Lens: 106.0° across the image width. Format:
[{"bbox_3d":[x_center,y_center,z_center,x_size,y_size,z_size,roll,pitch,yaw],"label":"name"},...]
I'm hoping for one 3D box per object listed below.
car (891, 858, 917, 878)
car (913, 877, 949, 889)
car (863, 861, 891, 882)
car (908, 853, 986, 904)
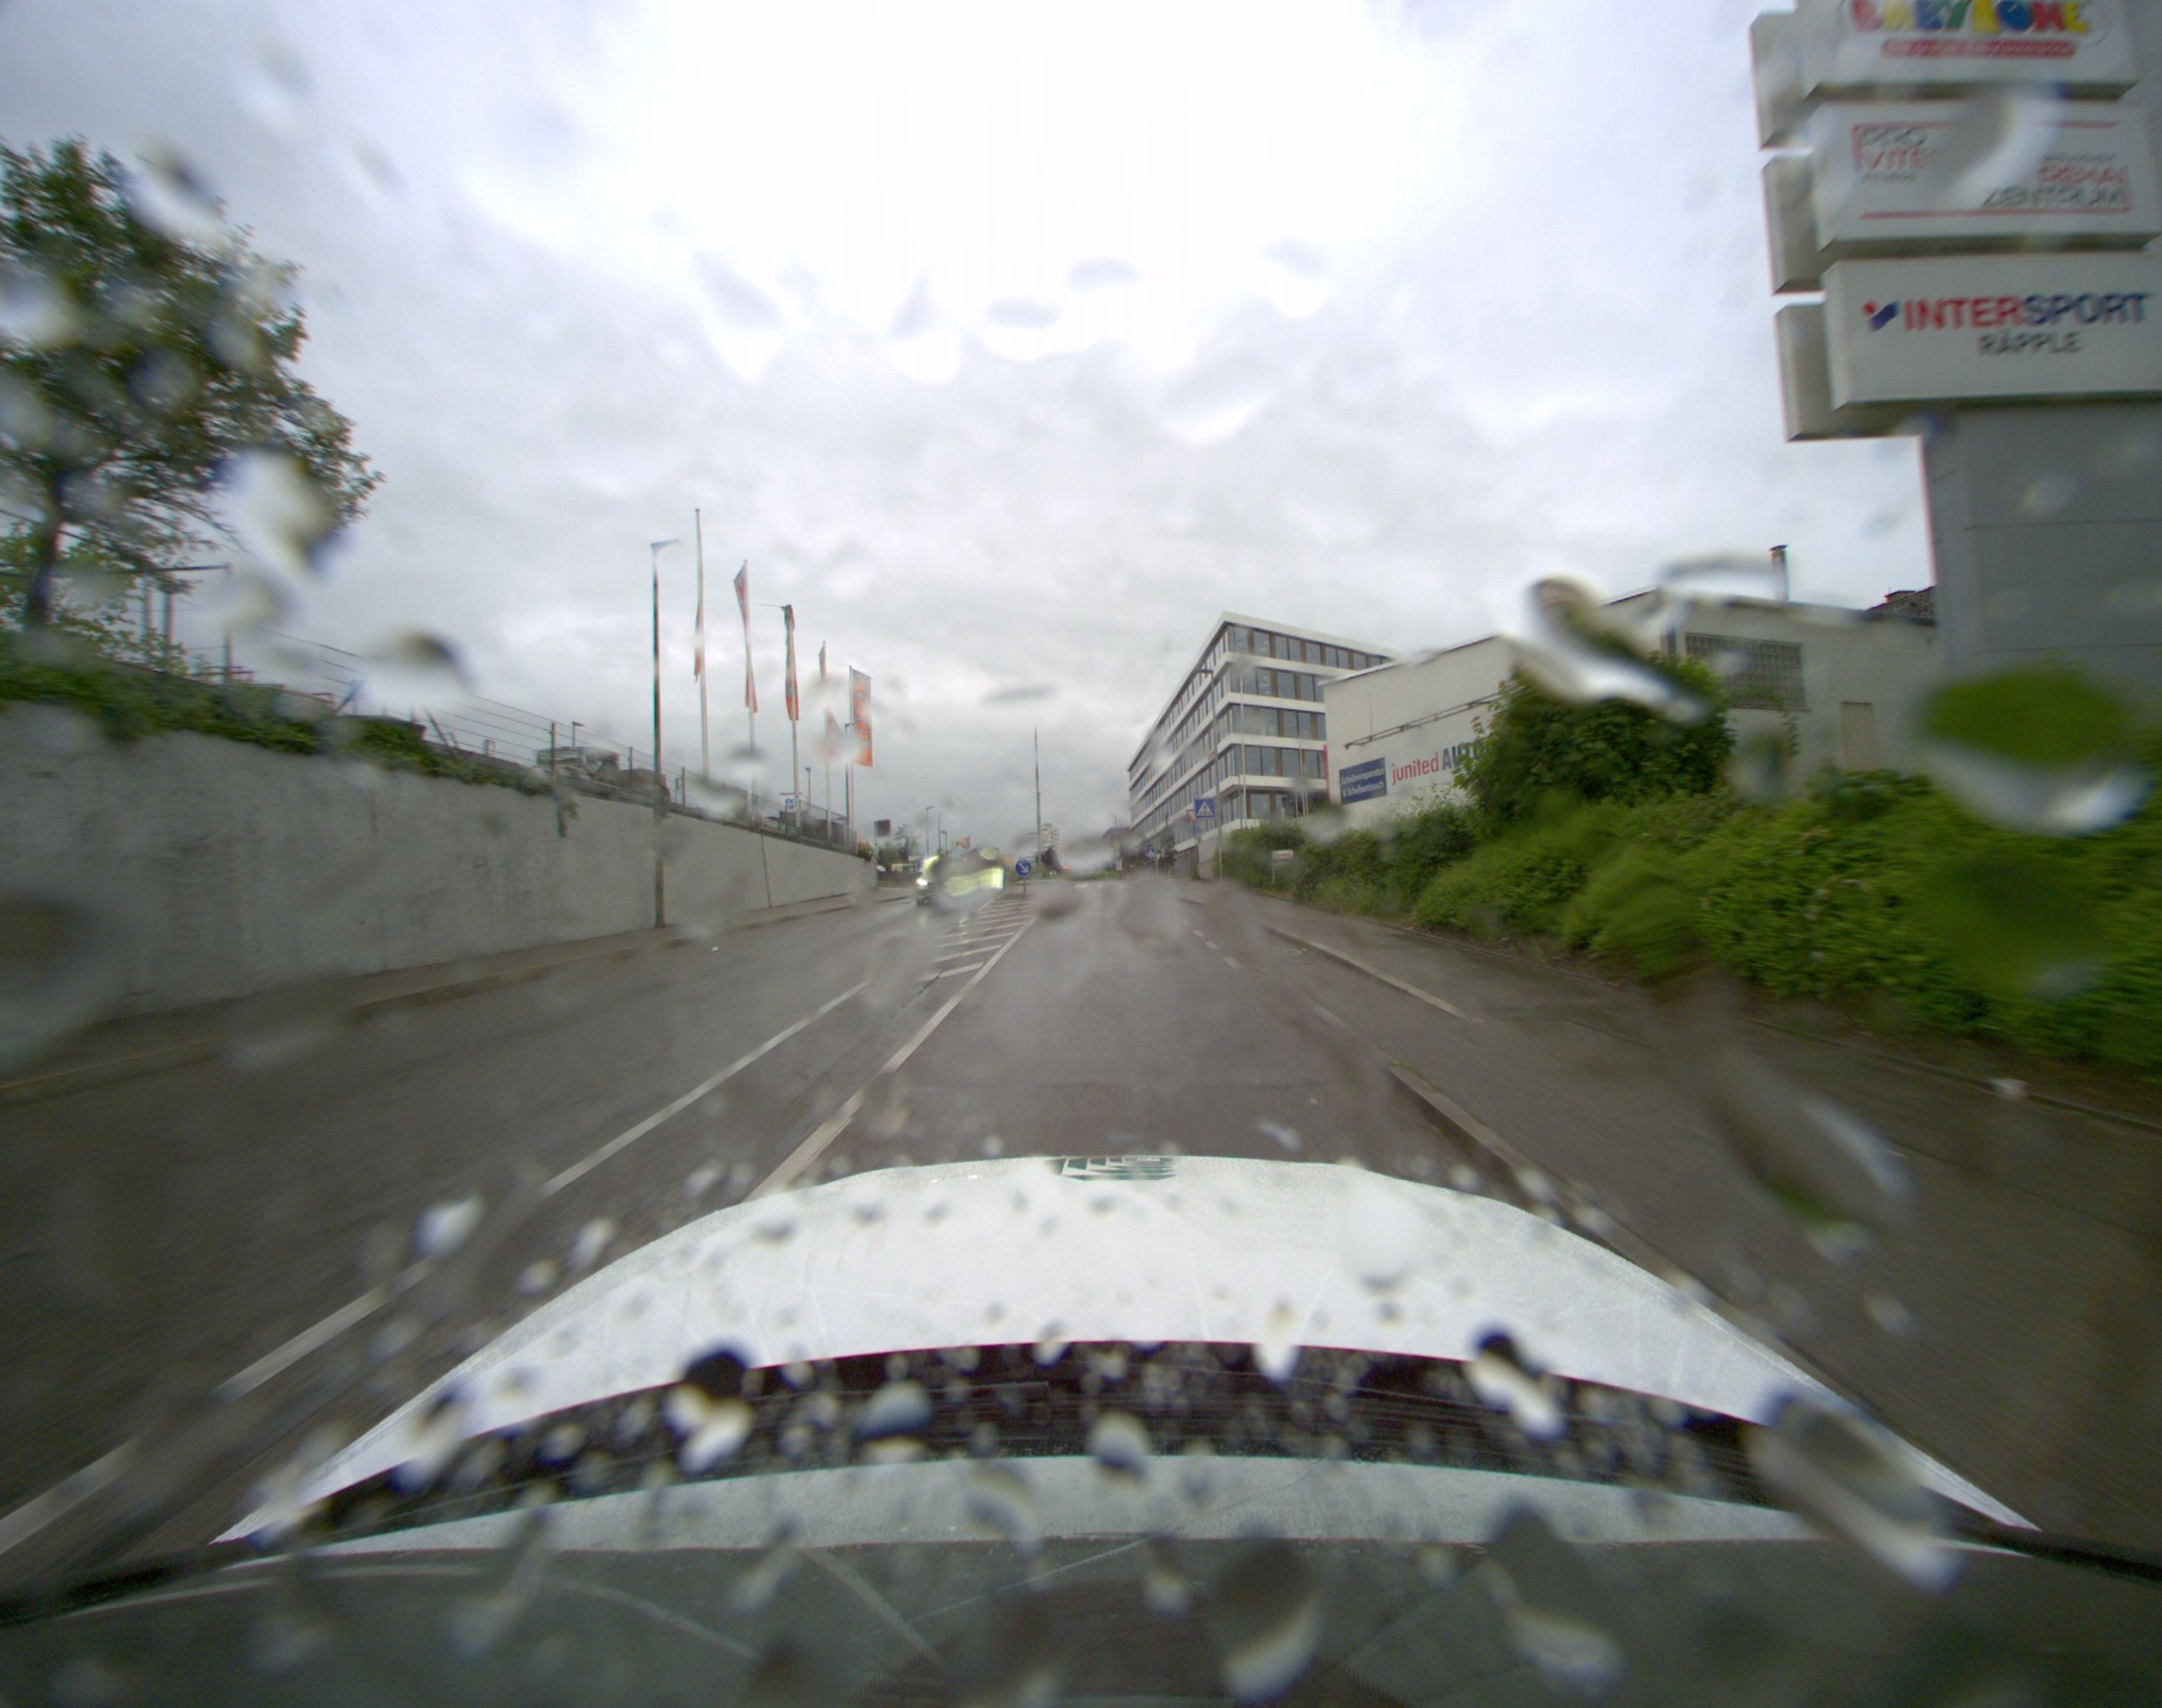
[{"bbox_3d":[-19.363,1.507,89.196,1.989,2.013,4.994,-2,0,-3],"label":"car"},{"bbox_3d":[-18.273,3.536,99.295,4.037,1.420,1.755,-1,-3,-22],"label":"car"},{"bbox_3d":[-21.376,1.764,85.553,1.990,2.013,4.993,-2,0,-4],"label":"car"},{"bbox_3d":[-4.430,0.759,27.583,1.996,1.426,4.777,-2,1,-3],"label":"car"}]
